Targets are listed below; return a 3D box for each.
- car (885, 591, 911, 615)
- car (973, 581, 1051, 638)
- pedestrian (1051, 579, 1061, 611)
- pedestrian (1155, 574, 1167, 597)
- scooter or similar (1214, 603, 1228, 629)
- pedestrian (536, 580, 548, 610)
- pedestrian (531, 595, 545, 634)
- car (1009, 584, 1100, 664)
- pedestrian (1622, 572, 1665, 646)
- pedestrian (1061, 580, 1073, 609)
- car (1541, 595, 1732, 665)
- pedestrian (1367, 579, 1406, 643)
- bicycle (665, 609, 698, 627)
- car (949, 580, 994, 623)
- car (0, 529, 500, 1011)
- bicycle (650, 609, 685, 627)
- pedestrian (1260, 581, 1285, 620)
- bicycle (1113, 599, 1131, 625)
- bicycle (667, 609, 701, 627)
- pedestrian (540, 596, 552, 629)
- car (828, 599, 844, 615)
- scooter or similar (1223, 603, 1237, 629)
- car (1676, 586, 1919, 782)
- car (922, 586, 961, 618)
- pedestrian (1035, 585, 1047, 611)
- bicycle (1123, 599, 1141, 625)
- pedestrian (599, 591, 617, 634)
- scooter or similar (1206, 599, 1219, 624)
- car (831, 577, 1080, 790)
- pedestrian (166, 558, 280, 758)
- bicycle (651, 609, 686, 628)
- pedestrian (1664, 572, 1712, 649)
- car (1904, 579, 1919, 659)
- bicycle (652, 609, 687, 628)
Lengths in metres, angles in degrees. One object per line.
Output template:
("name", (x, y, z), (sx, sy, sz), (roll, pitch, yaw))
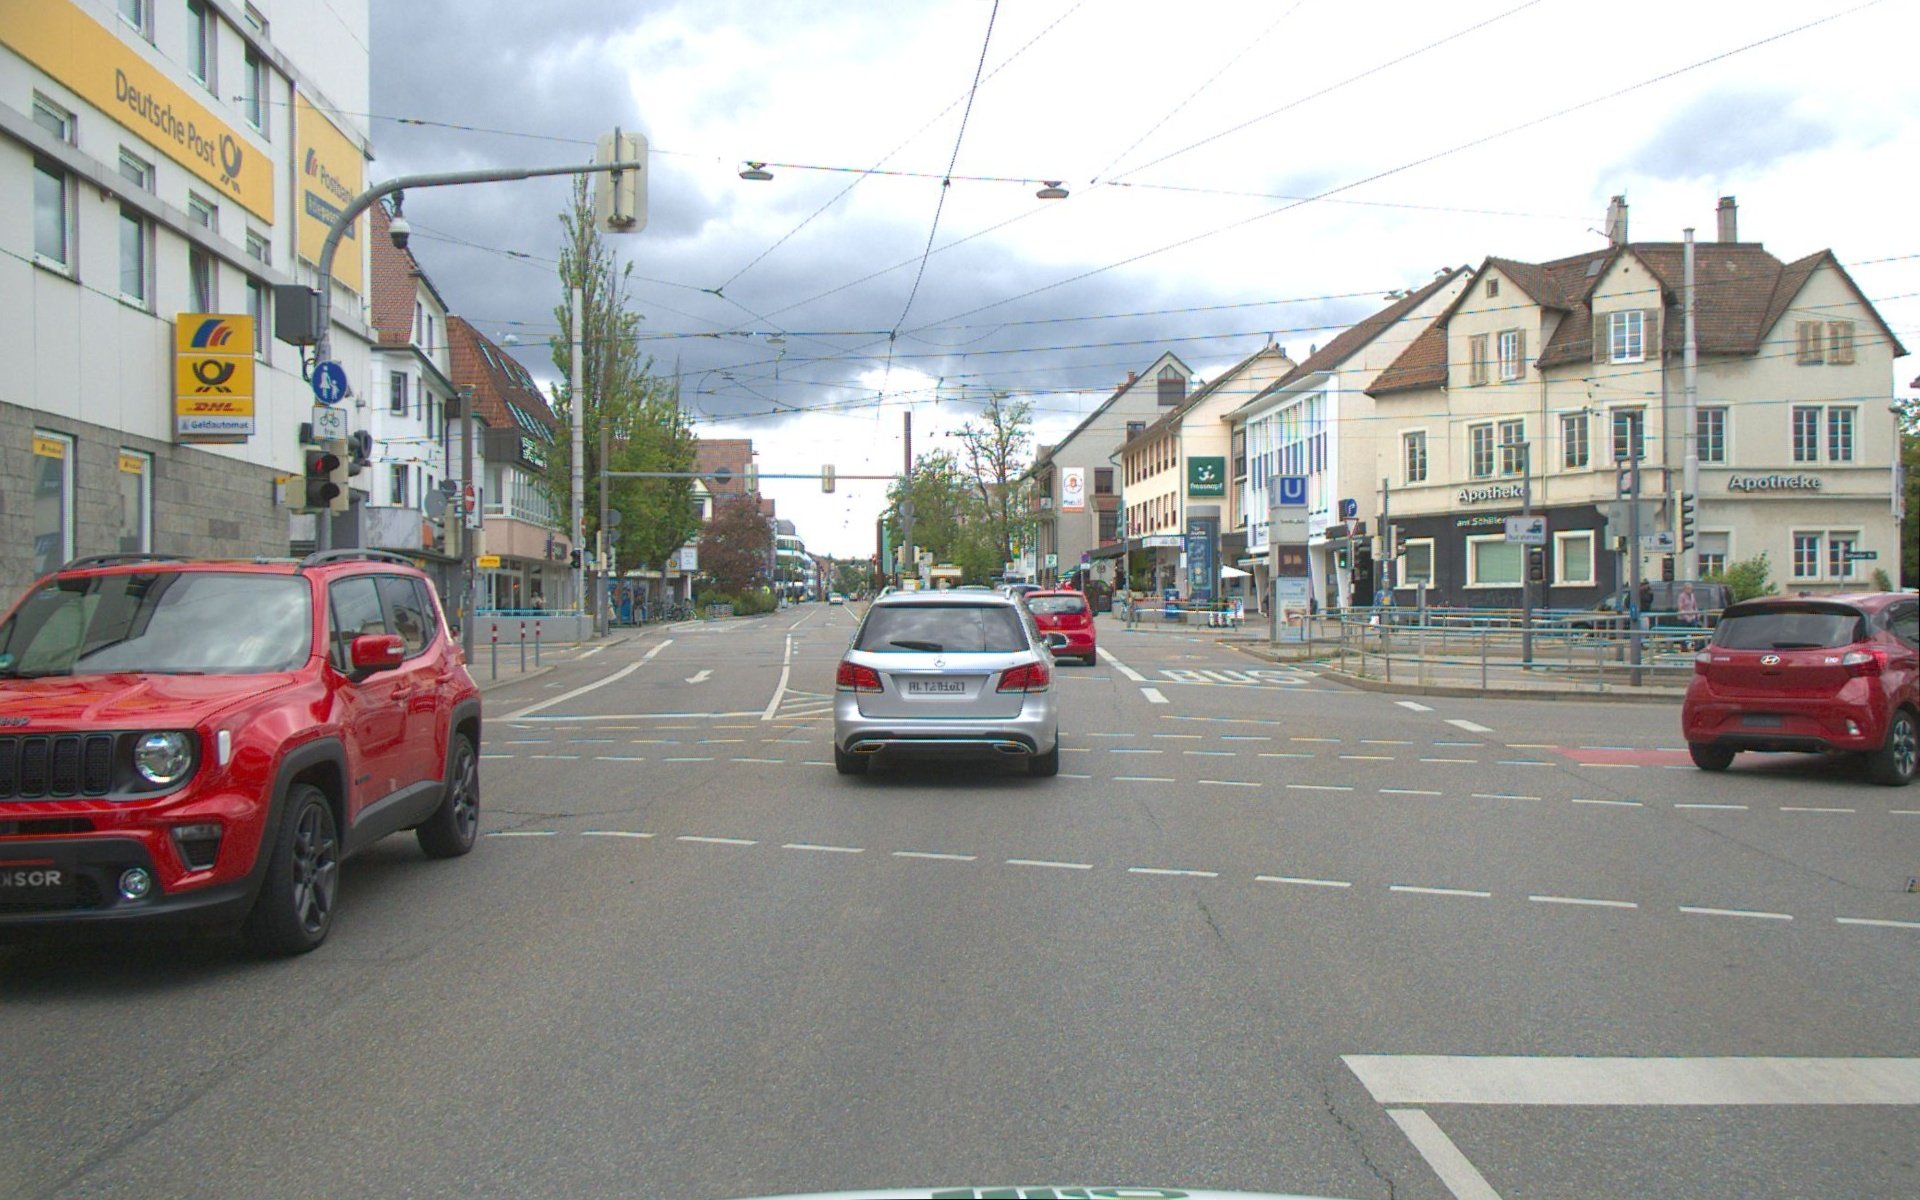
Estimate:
("car", (-5.323, 0.230, 141.721), (1.955, 2.049, 3.995), (0, 0, -6))
("car", (1.458, 0.256, 47.863), (1.701, 1.534, 3.995), (-1, 0, -6))
("pedestrian", (5.179, -0.255, 89.241), (0.566, 1.695, 0.651), (0, 0, 2))
("pedestrian", (10.905, -0.767, 89.680), (0.523, 1.240, 0.579), (0, 0, -7))
("scooter or similar", (10.562, 0.637, 66.933), (0.266, 1.019, 1.027), (-1, 0, -8))
("pedestrian", (-22.448, -0.264, 88.756), (0.569, 1.634, 0.641), (-1, 0, -17))
("pedestrian", (-20.783, 0.715, 81.393), (0.632, 1.868, 0.577), (-1, 0, -18))
("car", (1.977, 0.445, 33.699), (1.697, 1.534, 4.003), (0, 0, 5))
("pedestrian", (16.249, 0.211, 39.325), (0.690, 1.748, 0.648), (-1, 0, -11))
("pedestrian", (5.568, -0.301, 85.867), (0.566, 1.495, 0.651), (0, 0, -2))
("car", (18.713, 0.812, 45.860), (4.609, 1.853, 1.854), (0, -1, 41))
("pedestrian", (11.888, 0.303, 46.125), (0.825, 1.748, 0.726), (-1, 0, -8))
("bicycle", (-16.396, 1.046, 97.471), (1.905, 1.047, 0.528), (0, 0, -14))
("car", (0.476, 0.042, 72.236), (1.700, 1.790, 3.998), (-1, 0, -3))
("car", (-3.536, 0.617, 7.932), (1.764, 1.724, 3.894), (-1, 0, -4))
("bicycle", (-16.756, 1.038, 94.704), (1.905, 1.047, 0.528), (0, 0, -14))
("pedestrian", (13.102, 0.005, 69.271), (0.632, 1.619, 0.891), (1, 0, -24))
("bicycle", (7.230, 0.528, 73.911), (0.439, 1.110, 2.148), (-1, 0, -3))
("bicycle", (-16.126, 1.046, 96.516), (1.905, 1.047, 0.528), (0, 0, -14))
("pedestrian", (-20.716, 0.601, 82.775), (0.569, 1.634, 0.641), (-1, 0, -17))
("car", (-15.883, 0.873, 212.171), (1.955, 2.049, 3.995), (0, 0, -6))
("scooter or similar", (10.916, 0.639, 66.991), (0.266, 1.019, 1.027), (-1, 0, -8))
("car", (8.014, 0.625, 14.384), (3.961, 1.477, 1.680), (0, 0, -39))
("car", (-1.067, 0.107, 93.554), (1.954, 1.780, 3.996), (0, 0, -5))
("pedestrian", (4.470, -0.106, 91.328), (0.567, 1.460, 0.649), (0, 0, -10))
("bicycle", (7.670, 0.513, 73.945), (0.439, 1.127, 2.148), (-1, 0, -3))
("pedestrian", (-13.404, 0.467, 63.001), (0.623, 1.634, 0.701), (-1, 0, -17))
("scooter or similar", (10.205, 0.462, 66.868), (0.266, 1.019, 1.027), (-1, 0, -8))
("car", (0.003, 0.606, 14.245), (1.807, 1.534, 4.171), (-1, 0, 1))
("pedestrian", (-6.634, 0.506, 14.921), (0.634, 1.748, 0.783), (1, 0, 3))
("bicycle", (-16.586, 1.038, 94.123), (1.905, 1.047, 0.528), (0, 0, -14))
("pedestrian", (16.785, 0.234, 38.137), (0.774, 1.748, 0.647), (1, 0, -16))
("car", (25.592, 0.474, 39.761), (1.974, 1.953, 4.708), (2, -1, -43))
("bicycle", (-16.404, 1.038, 93.476), (1.905, 1.047, 0.528), (0, 0, -14))
